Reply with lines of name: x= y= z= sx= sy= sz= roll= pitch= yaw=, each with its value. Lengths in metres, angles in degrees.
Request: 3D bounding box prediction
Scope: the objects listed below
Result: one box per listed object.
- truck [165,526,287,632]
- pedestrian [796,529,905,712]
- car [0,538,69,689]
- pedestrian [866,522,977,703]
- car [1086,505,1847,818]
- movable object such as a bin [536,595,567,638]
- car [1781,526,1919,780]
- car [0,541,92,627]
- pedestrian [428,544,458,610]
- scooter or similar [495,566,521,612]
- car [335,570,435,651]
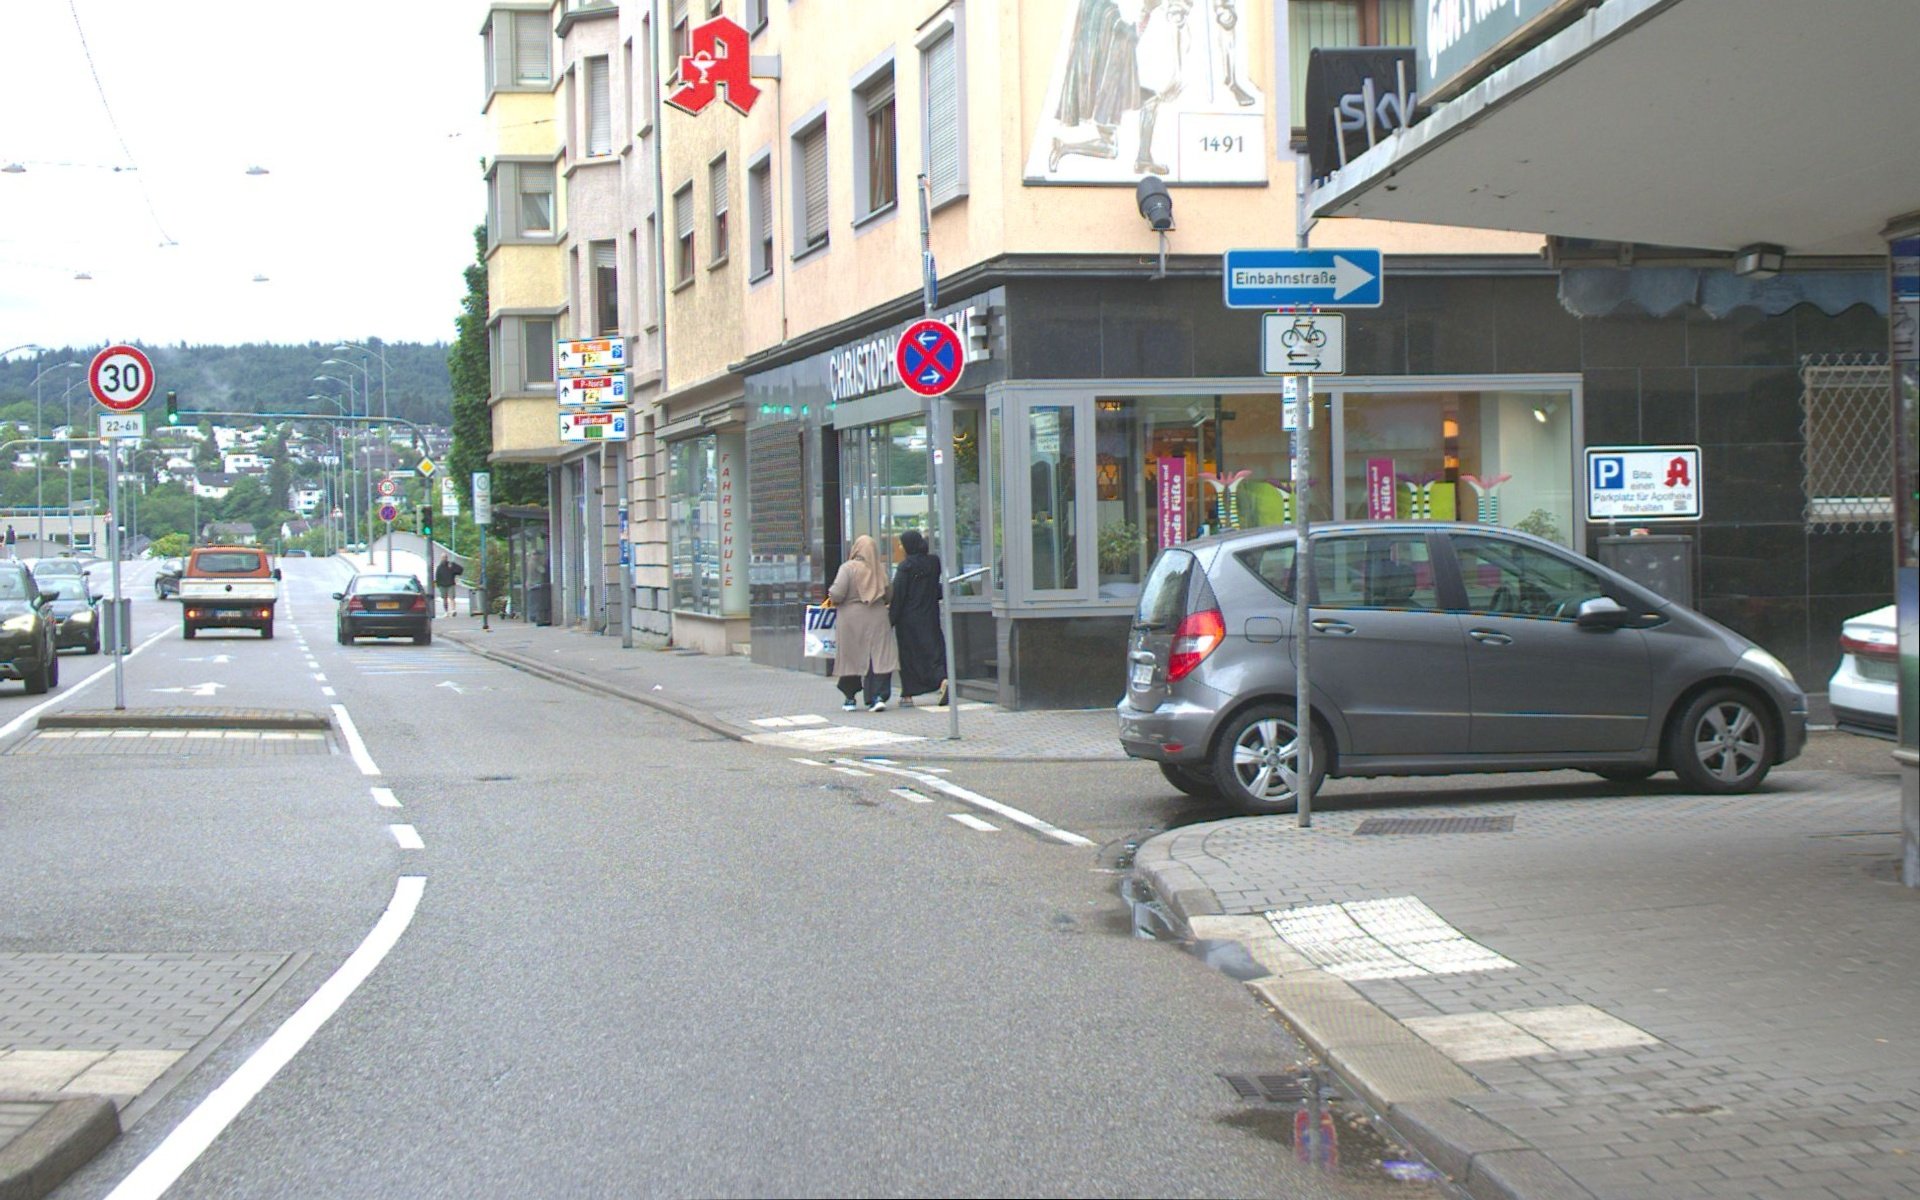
truck: x=-15.657 y=-0.443 z=73.410 sx=2.399 sy=2.122 sz=5.316 roll=-2 pitch=0 yaw=-12
pedestrian: x=-0.964 y=0.173 z=30.083 sx=0.778 sy=1.554 sz=0.783 roll=-2 pitch=0 yaw=-13
car: x=-11.539 y=0.129 z=40.630 sx=1.743 sy=1.656 sz=4.419 roll=-2 pitch=2 yaw=-12
pedestrian: x=-0.342 y=0.106 z=30.371 sx=0.768 sy=1.554 sz=0.876 roll=-2 pitch=0 yaw=-13
car: x=2.798 y=0.314 z=19.489 sx=3.824 sy=1.568 sz=1.937 roll=-2 pitch=0 yaw=-9
movable object such as a bin: x=-8.980 y=0.359 z=75.551 sx=0.600 sy=0.923 sz=0.705 roll=-2 pitch=0 yaw=-11
car: x=7.442 y=0.235 z=20.707 sx=4.478 sy=1.437 sz=1.787 roll=-2 pitch=0 yaw=-8
car: x=-16.499 y=-0.284 z=61.539 sx=1.708 sy=1.446 sz=4.087 roll=-2 pitch=0 yaw=-12
pedestrian: x=-14.407 y=-0.641 z=95.783 sx=0.732 sy=1.835 sz=0.631 roll=-2 pitch=0 yaw=-13
scooter or similar: x=-11.583 y=-0.281 z=88.095 sx=0.511 sy=1.168 sz=1.549 roll=-2 pitch=0 yaw=-11
car: x=-11.189 y=0.183 z=66.789 sx=1.754 sy=1.474 sz=4.001 roll=-2 pitch=0 yaw=-11
